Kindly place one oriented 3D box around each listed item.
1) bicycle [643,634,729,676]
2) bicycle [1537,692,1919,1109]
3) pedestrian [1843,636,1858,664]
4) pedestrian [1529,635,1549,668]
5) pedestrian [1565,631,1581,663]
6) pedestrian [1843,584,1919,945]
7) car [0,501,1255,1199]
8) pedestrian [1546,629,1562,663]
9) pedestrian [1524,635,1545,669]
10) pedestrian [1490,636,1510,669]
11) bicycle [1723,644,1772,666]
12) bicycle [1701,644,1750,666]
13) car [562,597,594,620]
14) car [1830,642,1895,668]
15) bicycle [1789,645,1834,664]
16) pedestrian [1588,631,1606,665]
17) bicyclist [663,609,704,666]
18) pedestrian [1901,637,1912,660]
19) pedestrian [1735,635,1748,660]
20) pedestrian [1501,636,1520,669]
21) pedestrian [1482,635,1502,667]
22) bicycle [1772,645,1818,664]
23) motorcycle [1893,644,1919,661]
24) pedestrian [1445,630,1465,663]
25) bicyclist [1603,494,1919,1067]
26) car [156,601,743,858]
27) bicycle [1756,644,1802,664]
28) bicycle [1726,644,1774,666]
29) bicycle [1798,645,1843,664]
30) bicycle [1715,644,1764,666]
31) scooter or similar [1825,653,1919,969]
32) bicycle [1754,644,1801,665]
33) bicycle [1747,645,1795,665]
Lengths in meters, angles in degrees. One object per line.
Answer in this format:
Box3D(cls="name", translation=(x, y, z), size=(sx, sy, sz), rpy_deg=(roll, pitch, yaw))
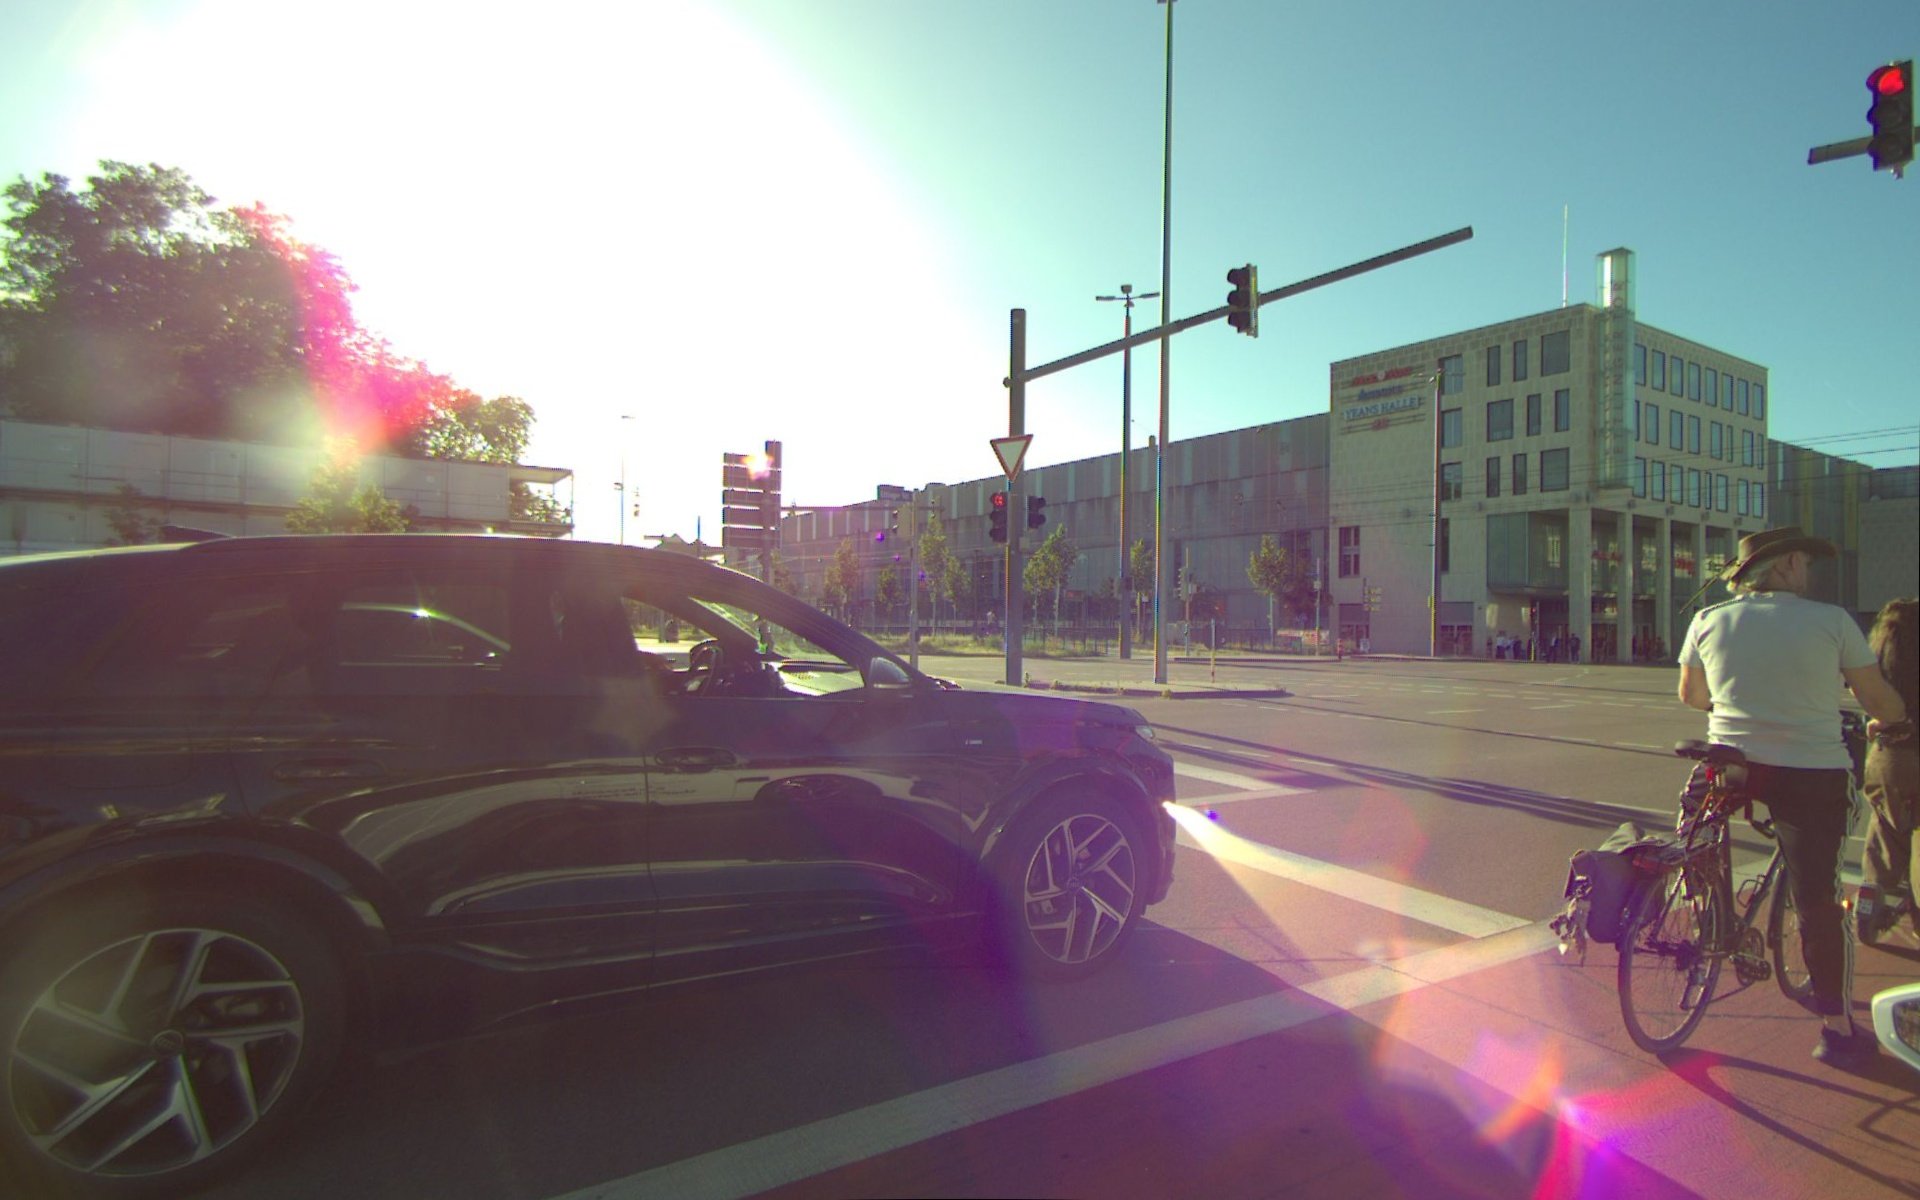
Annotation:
Box3D(cls="bicycle", translation=(-10.004, 1.987, 36.672), size=(2.905, 1.388, 0.970), rpy_deg=(2, 0, 16))
Box3D(cls="bicycle", translation=(2.883, 0.962, 3.681), size=(1.810, 1.171, 0.482), rpy_deg=(2, 0, -31))
Box3D(cls="pedestrian", translation=(55.811, 3.111, 62.978), size=(0.639, 1.742, 0.449), rpy_deg=(0, -1, 37))
Box3D(cls="pedestrian", translation=(34.410, 3.044, 59.690), size=(0.710, 1.910, 0.779), rpy_deg=(2, 0, -36))
Box3D(cls="pedestrian", translation=(35.634, 2.729, 58.425), size=(0.784, 1.868, 0.862), rpy_deg=(0, -1, 32))
Box3D(cls="pedestrian", translation=(4.636, 0.763, 4.808), size=(0.568, 1.654, 0.543), rpy_deg=(2, 0, -45))
Box3D(cls="car", translation=(-1.150, 0.634, 3.872), size=(4.630, 1.656, 1.760), rpy_deg=(1, 0, -32))
Box3D(cls="pedestrian", translation=(34.246, 2.655, 57.933), size=(0.705, 1.910, 0.785), rpy_deg=(2, 0, 33))
Box3D(cls="pedestrian", translation=(33.400, 3.007, 58.378), size=(0.710, 1.910, 0.779), rpy_deg=(2, 0, -36))
Box3D(cls="pedestrian", translation=(32.166, 3.129, 59.869), size=(0.710, 1.910, 0.779), rpy_deg=(2, 0, -36))
Box3D(cls="bicycle", translation=(48.050, 3.362, 61.339), size=(0.605, 1.238, 2.295), rpy_deg=(1, -1, -31))
Box3D(cls="bicycle", translation=(45.766, 3.287, 60.084), size=(0.605, 1.238, 2.295), rpy_deg=(1, -1, -31))
Box3D(cls="car", translation=(-32.933, 0.736, 86.514), size=(1.785, 1.908, 3.964), rpy_deg=(2, 0, -33))
Box3D(cls="car", translation=(49.787, 3.060, 55.411), size=(3.956, 1.359, 1.621), rpy_deg=(2, -4, -32))
Box3D(cls="bicycle", translation=(58.856, 3.730, 69.429), size=(0.605, 1.238, 2.295), rpy_deg=(1, -1, -31))
Box3D(cls="pedestrian", translation=(35.876, 2.693, 56.584), size=(0.784, 1.868, 0.863), rpy_deg=(0, -1, 28))
Box3D(cls="bicyclist", translation=(-10.093, 1.349, 36.687), size=(1.078, 2.040, 0.961), rpy_deg=(2, 0, 16))
Box3D(cls="pedestrian", translation=(71.101, 3.665, 75.456), size=(0.579, 1.702, 0.516), rpy_deg=(1, 1, -43))
Box3D(cls="pedestrian", translation=(52.918, 3.213, 67.993), size=(0.602, 1.702, 0.549), rpy_deg=(1, 0, -40))
Box3D(cls="pedestrian", translation=(33.257, 3.166, 60.651), size=(0.780, 1.910, 0.709), rpy_deg=(2, 0, -37))
Box3D(cls="pedestrian", translation=(32.451, 3.112, 61.289), size=(0.710, 1.910, 0.779), rpy_deg=(2, 0, -36))
Box3D(cls="bicycle", translation=(55.523, 3.616, 66.831), size=(0.605, 1.238, 2.295), rpy_deg=(1, -1, -31))
Box3D(cls="motorcycle", translation=(70.743, 3.901, 74.856), size=(0.508, 1.223, 1.786), rpy_deg=(1, 0, -44))
Box3D(cls="pedestrian", translation=(31.514, 2.968, 63.976), size=(0.767, 2.040, 0.876), rpy_deg=(2, 0, -41))
Box3D(cls="bicyclist", translation=(2.873, 0.557, 3.555), size=(0.856, 1.743, 0.657), rpy_deg=(2, 0, -30))
Box3D(cls="car", translation=(-3.582, 0.792, 7.497), size=(3.562, 1.505, 1.485), rpy_deg=(1, 0, -30))
Box3D(cls="bicycle", translation=(54.285, 3.577, 66.568), size=(0.605, 1.238, 2.295), rpy_deg=(1, -1, -31))
Box3D(cls="bicycle", translation=(48.700, 3.385, 61.960), size=(0.605, 1.238, 2.295), rpy_deg=(1, -1, -31))
Box3D(cls="bicycle", translation=(59.827, 3.761, 69.854), size=(0.605, 1.238, 2.295), rpy_deg=(1, -1, -31))
Box3D(cls="bicycle", translation=(46.968, 3.325, 60.528), size=(0.605, 1.238, 2.295), rpy_deg=(1, -1, -31))
Box3D(cls="scooter or similar", translation=(4.496, 0.926, 4.716), size=(1.186, 1.311, 0.541), rpy_deg=(2, 0, -45))
Box3D(cls="bicycle", translation=(52.905, 3.527, 65.020), size=(0.605, 1.238, 2.295), rpy_deg=(1, -1, -31))
Box3D(cls="bicycle", translation=(51.281, 3.471, 63.552), size=(0.605, 1.238, 2.295), rpy_deg=(1, -1, -31))
